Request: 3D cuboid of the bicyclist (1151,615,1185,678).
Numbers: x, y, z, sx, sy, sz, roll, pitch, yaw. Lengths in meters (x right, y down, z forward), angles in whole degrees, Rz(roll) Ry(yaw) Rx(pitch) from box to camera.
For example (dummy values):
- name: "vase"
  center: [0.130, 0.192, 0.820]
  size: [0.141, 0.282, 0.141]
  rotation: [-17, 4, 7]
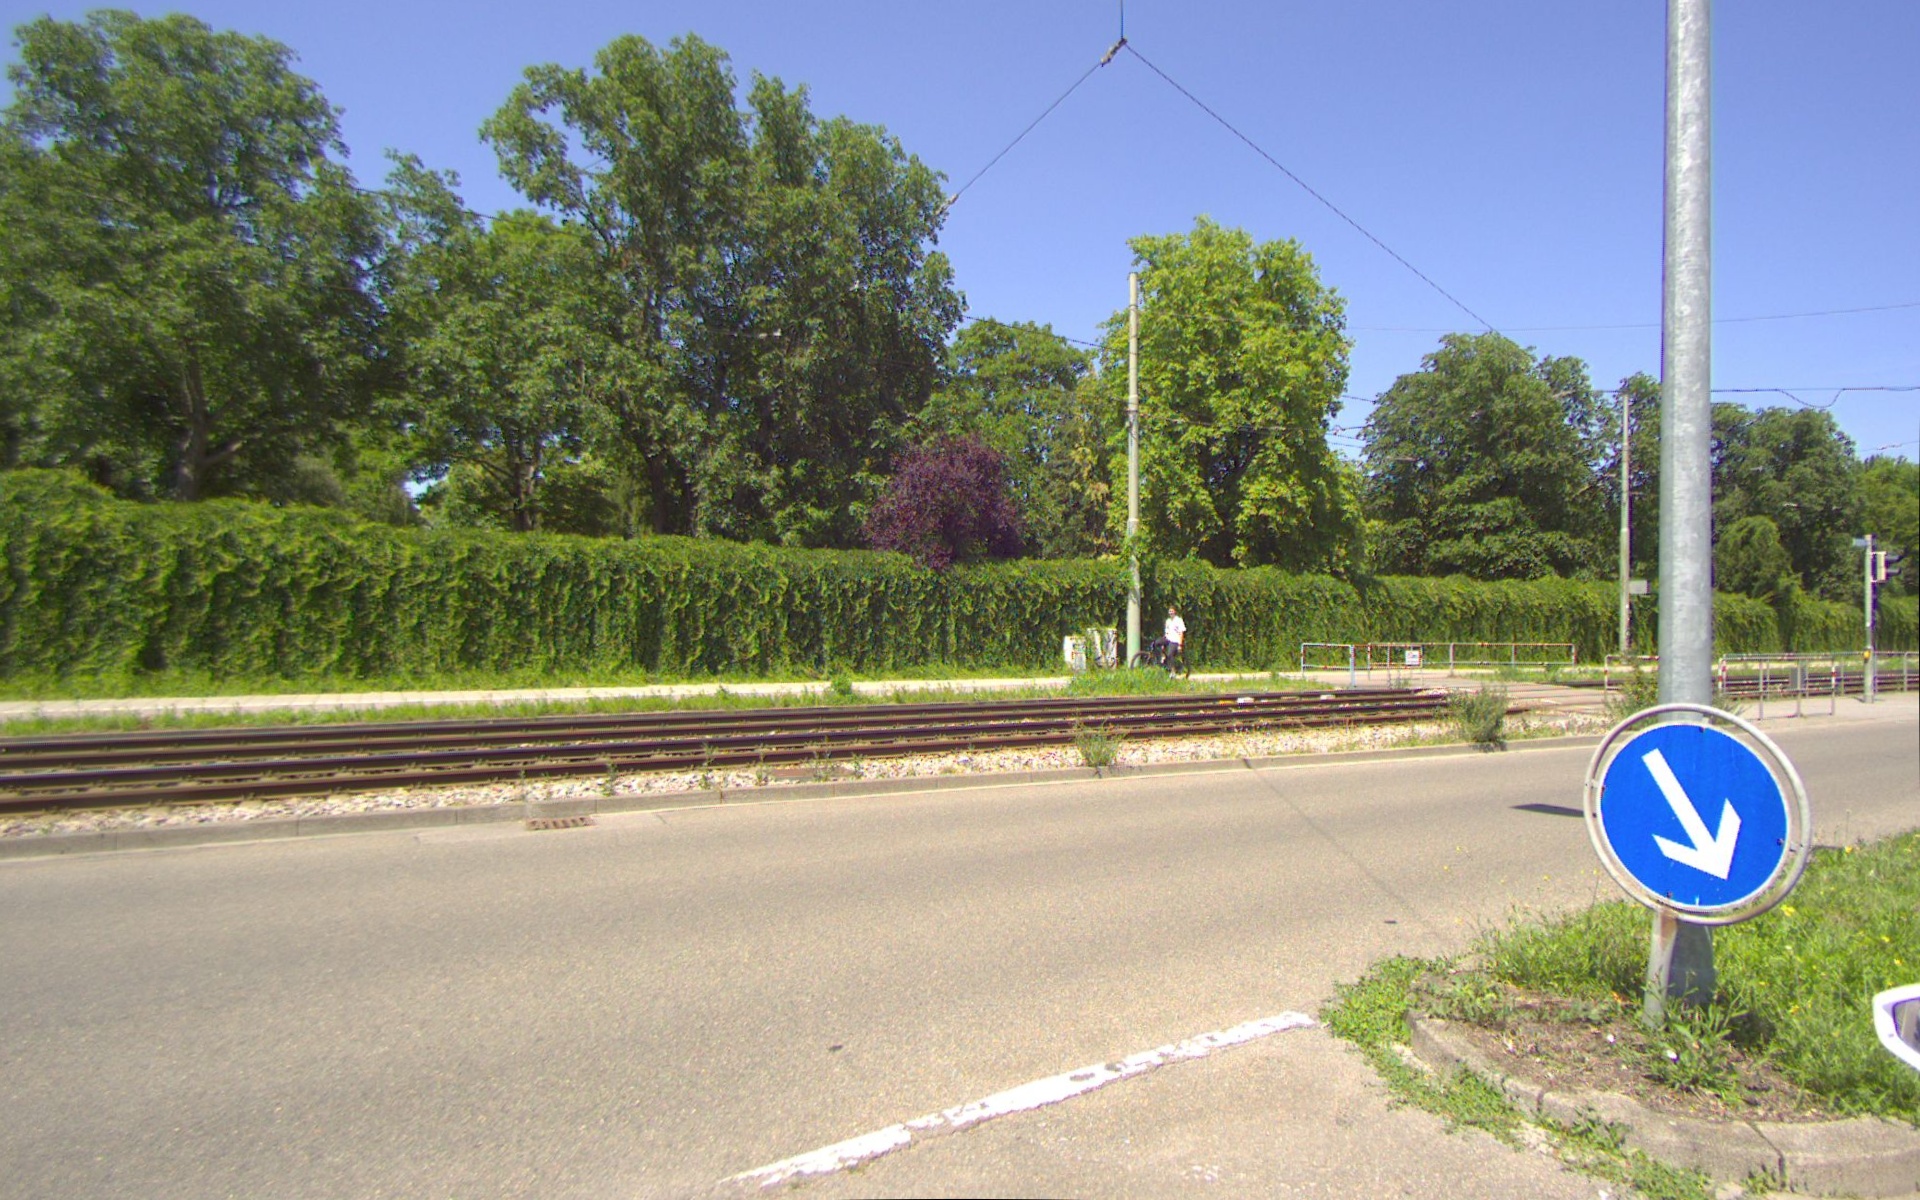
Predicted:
- name: "bicyclist"
  center: [5.028, 1.119, 24.292]
  size: [0.554, 1.497, 0.555]
  rotation: [1, -1, -28]

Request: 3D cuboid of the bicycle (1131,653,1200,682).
- name: "bicycle"
  center: [4.971, 1.622, 24.254]
  size: [1.699, 0.656, 0.558]
  rotation: [1, -1, -29]
